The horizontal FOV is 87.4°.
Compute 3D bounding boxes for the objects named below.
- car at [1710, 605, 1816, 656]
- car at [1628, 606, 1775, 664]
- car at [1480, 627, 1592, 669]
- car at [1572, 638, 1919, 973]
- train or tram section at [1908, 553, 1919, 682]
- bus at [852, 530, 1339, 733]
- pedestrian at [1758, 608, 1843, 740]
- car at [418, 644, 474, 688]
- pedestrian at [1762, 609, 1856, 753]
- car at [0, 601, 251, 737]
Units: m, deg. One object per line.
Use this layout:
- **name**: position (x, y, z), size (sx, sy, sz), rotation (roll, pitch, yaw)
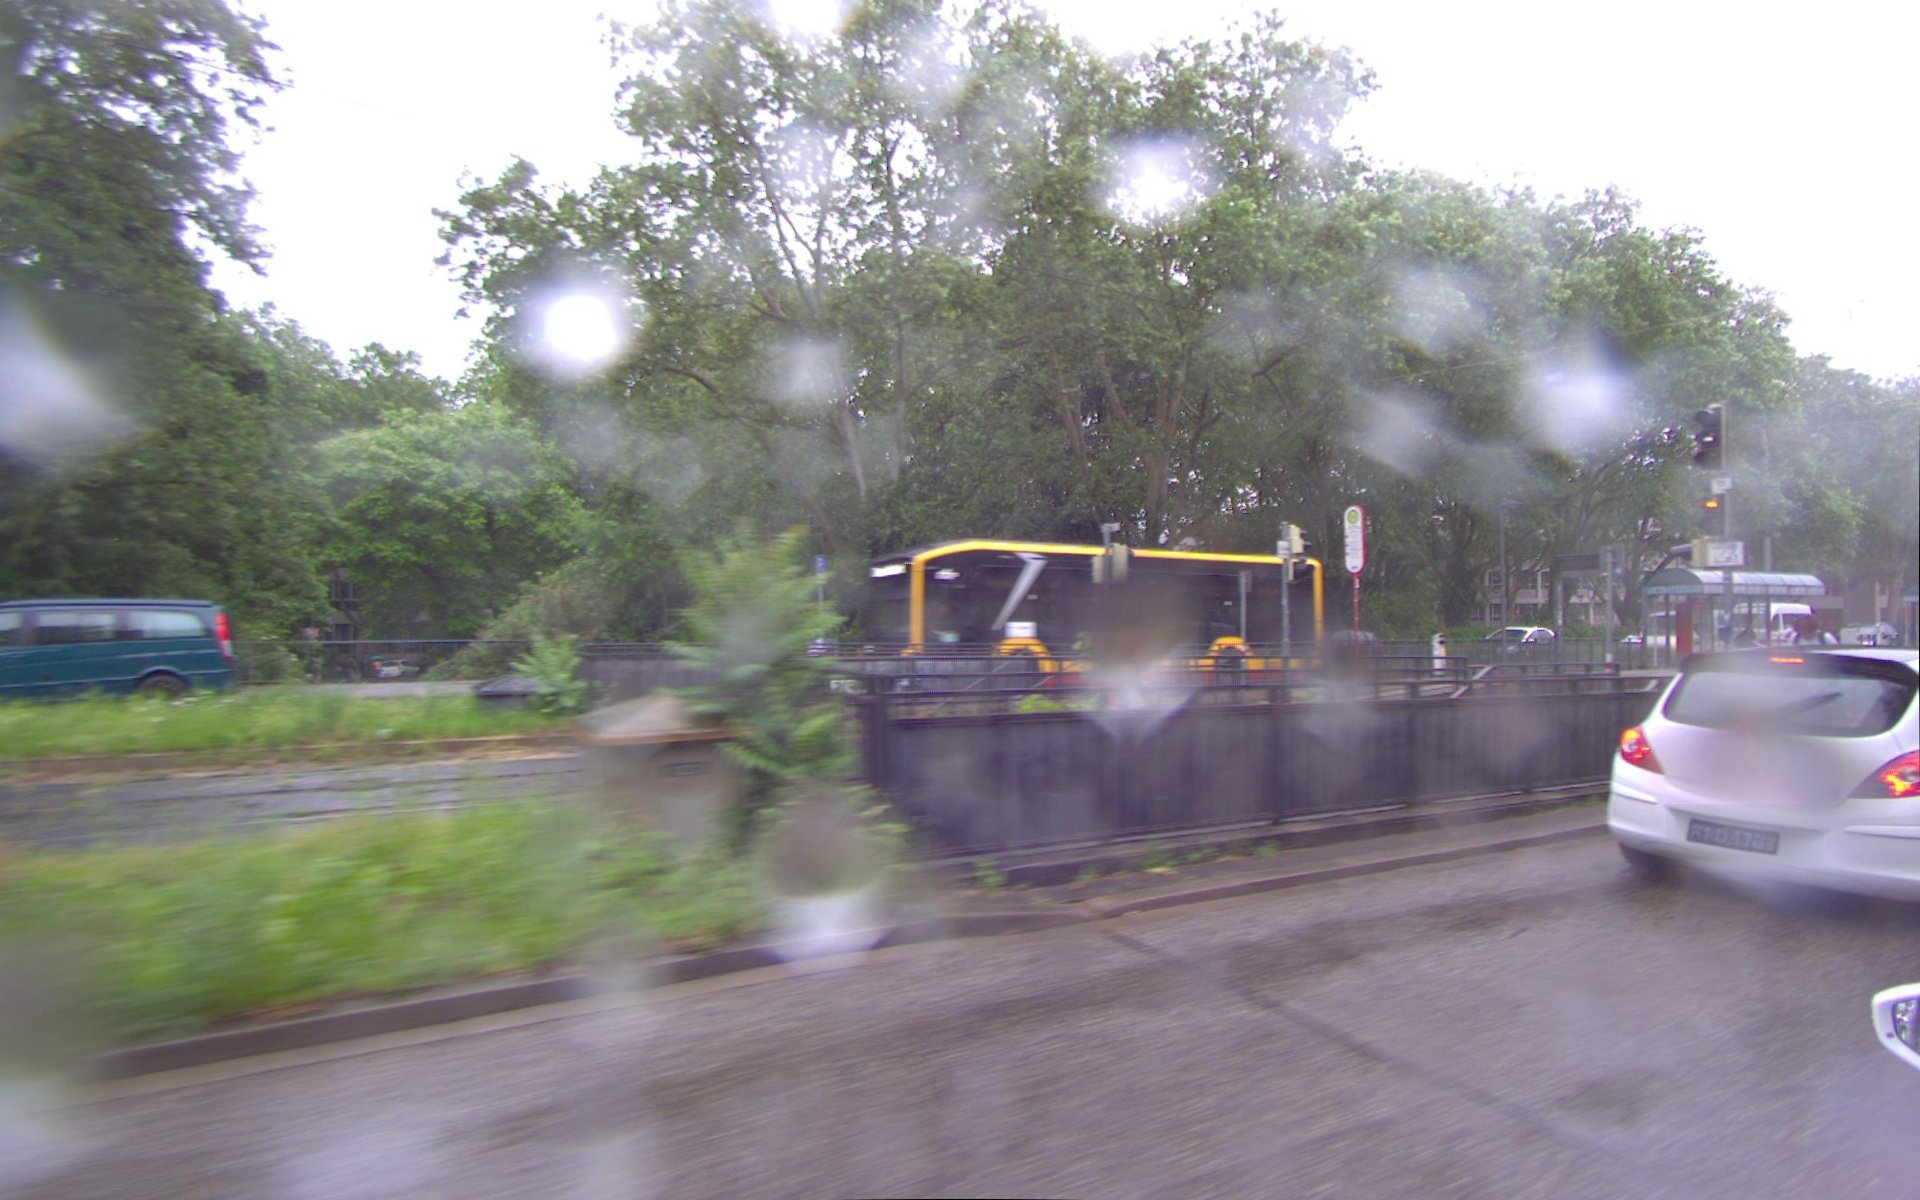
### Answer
- **car**: position (37.545, 1.398, 46.934), size (5.158, 2.253, 1.986), rotation (1, -1, -28)
- **car**: position (27.702, 1.294, 37.469), size (6.041, 2.040, 2.174), rotation (1, -1, -30)
- **car**: position (21.745, 1.783, 37.889), size (3.951, 1.537, 1.926), rotation (1, -2, -29)
- **car**: position (5.722, 1.030, 6.207), size (3.760, 1.498, 1.717), rotation (2, -1, -30)
- **train or tram section**: position (28.823, 0.400, 26.768), size (8.262, 3.329, 2.947), rotation (0, -2, -31)
- **bus**: position (3.636, 0.734, 23.638), size (12.104, 3.889, 3.014), rotation (1, 0, -31)
- **pedestrian**: position (11.624, 1.002, 13.894), size (0.798, 1.761, 0.674), rotation (1, -1, -30)
- **car**: position (-14.611, 1.852, 28.504), size (1.292, 1.044, 2.654), rotation (2, 0, -30)
- **pedestrian**: position (10.843, 1.006, 12.830), size (0.742, 1.768, 0.712), rotation (1, -1, -30)
- **car**: position (-14.941, 1.138, 16.945), size (4.753, 2.120, 2.020), rotation (2, -3, -34)
